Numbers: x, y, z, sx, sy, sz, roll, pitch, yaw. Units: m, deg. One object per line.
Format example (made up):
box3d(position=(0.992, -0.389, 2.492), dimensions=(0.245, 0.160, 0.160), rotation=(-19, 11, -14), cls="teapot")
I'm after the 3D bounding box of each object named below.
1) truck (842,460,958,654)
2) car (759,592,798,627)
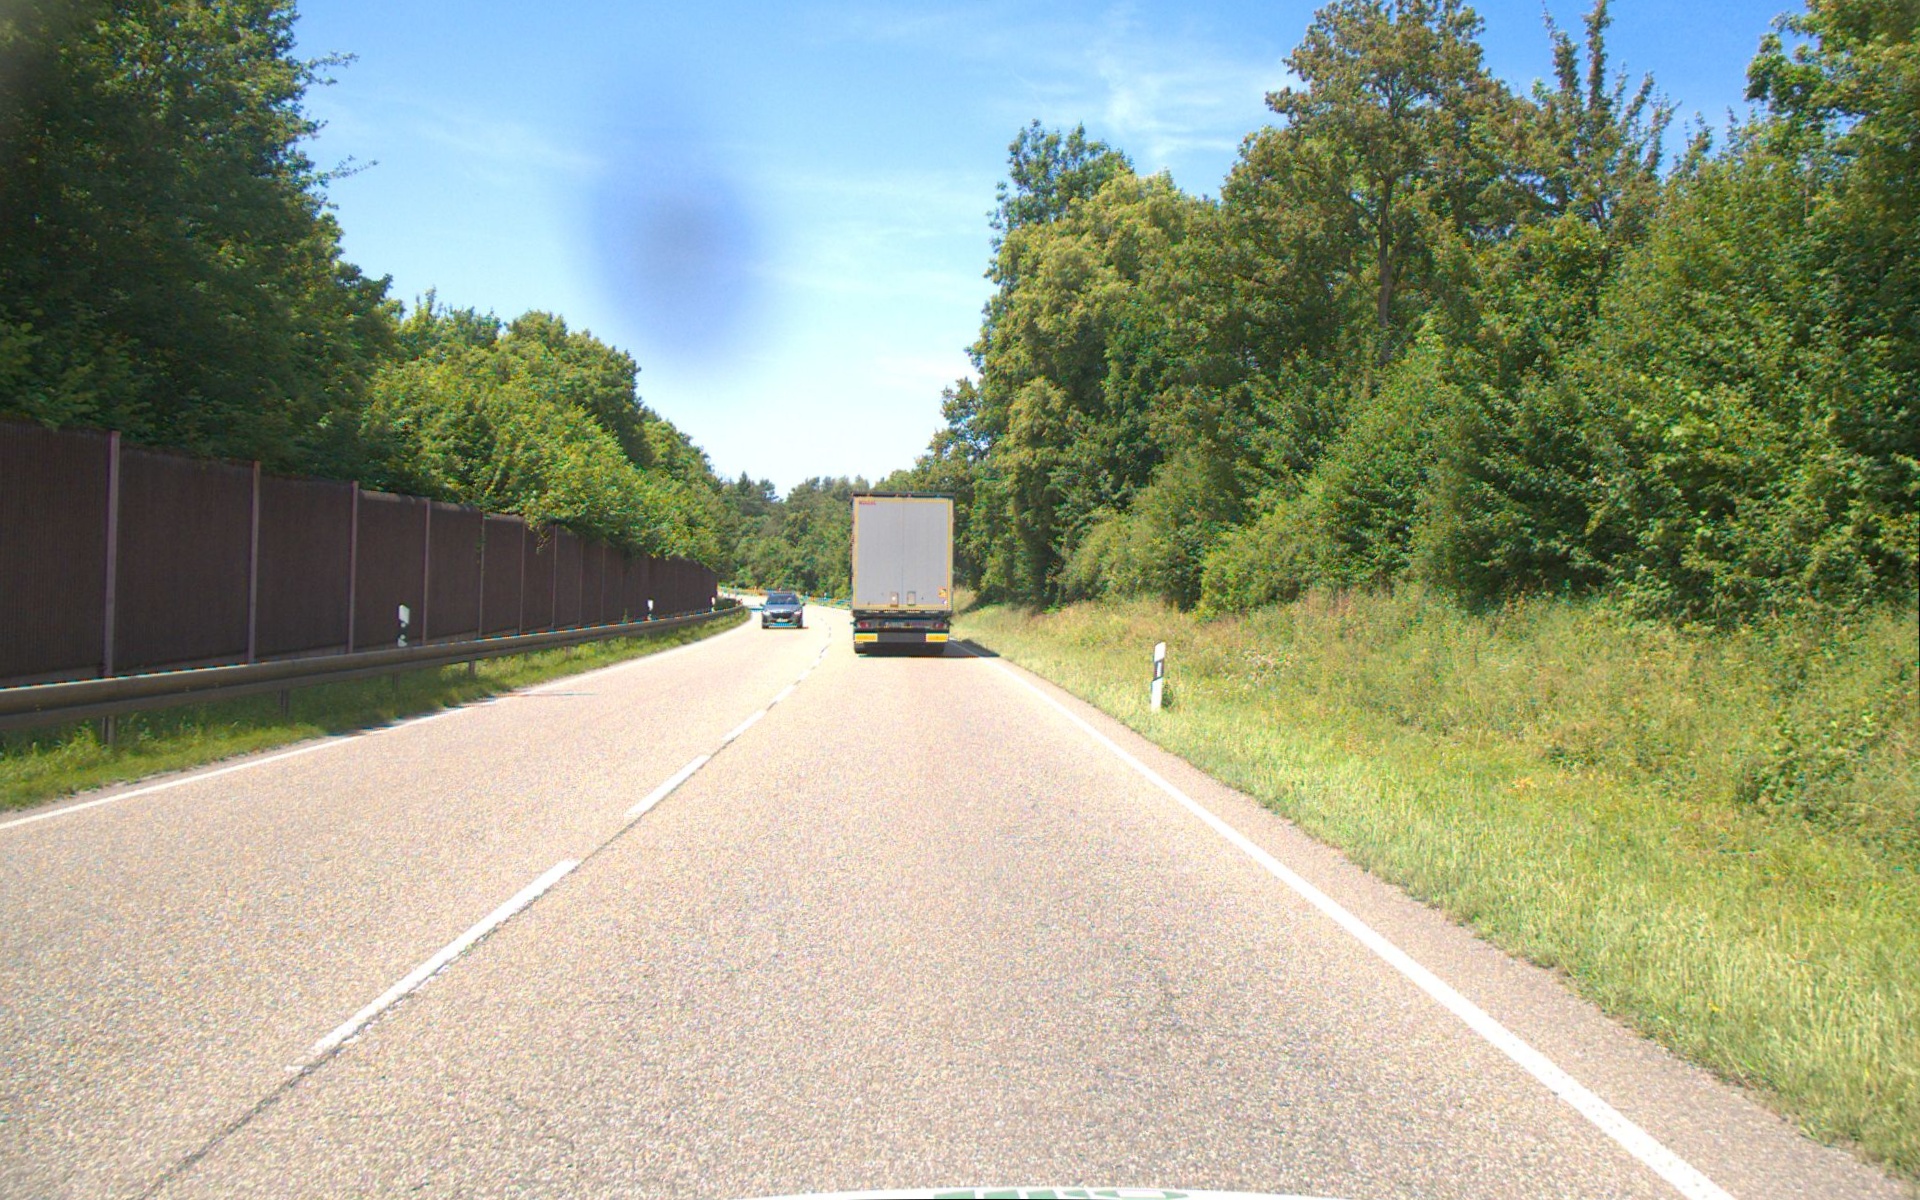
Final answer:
box3d(position=(-1.560, -0.995, 43.634), dimensions=(2.765, 4.685, 6.662), rotation=(1, -1, -2), cls="truck")
box3d(position=(-8.123, 0.420, 73.859), dimensions=(1.587, 1.517, 3.610), rotation=(0, 0, -8), cls="car")
